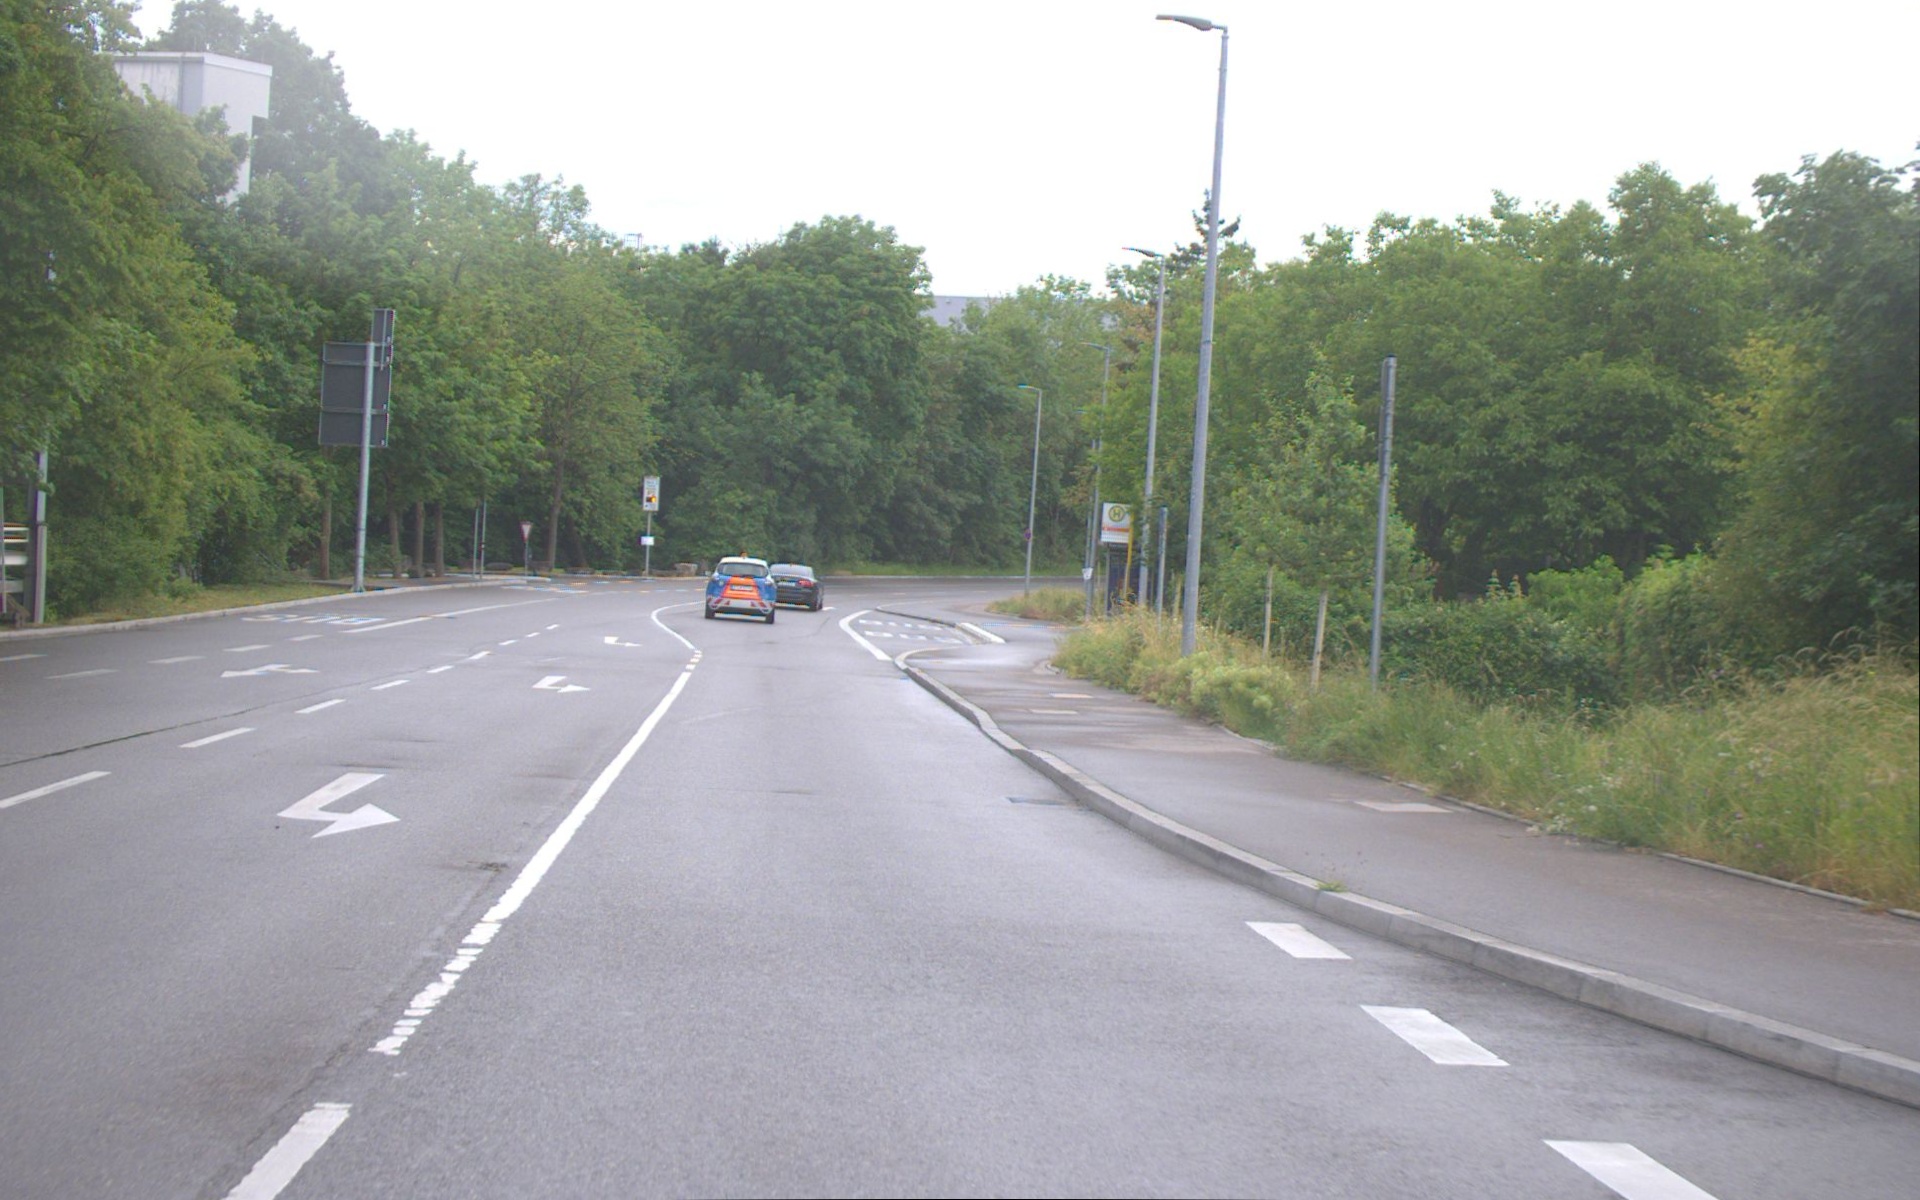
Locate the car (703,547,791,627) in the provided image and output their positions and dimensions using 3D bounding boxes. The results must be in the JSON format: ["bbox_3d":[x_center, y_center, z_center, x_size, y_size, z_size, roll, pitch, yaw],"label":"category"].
[{"bbox_3d":[-5.266,-0.339,85.495,1.993,1.683,4.001,4,2,-2],"label":"car"}]

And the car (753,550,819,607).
[{"bbox_3d":[-5.296,-0.669,104.976,1.927,1.481,3.800,3,2,-3],"label":"car"}]
